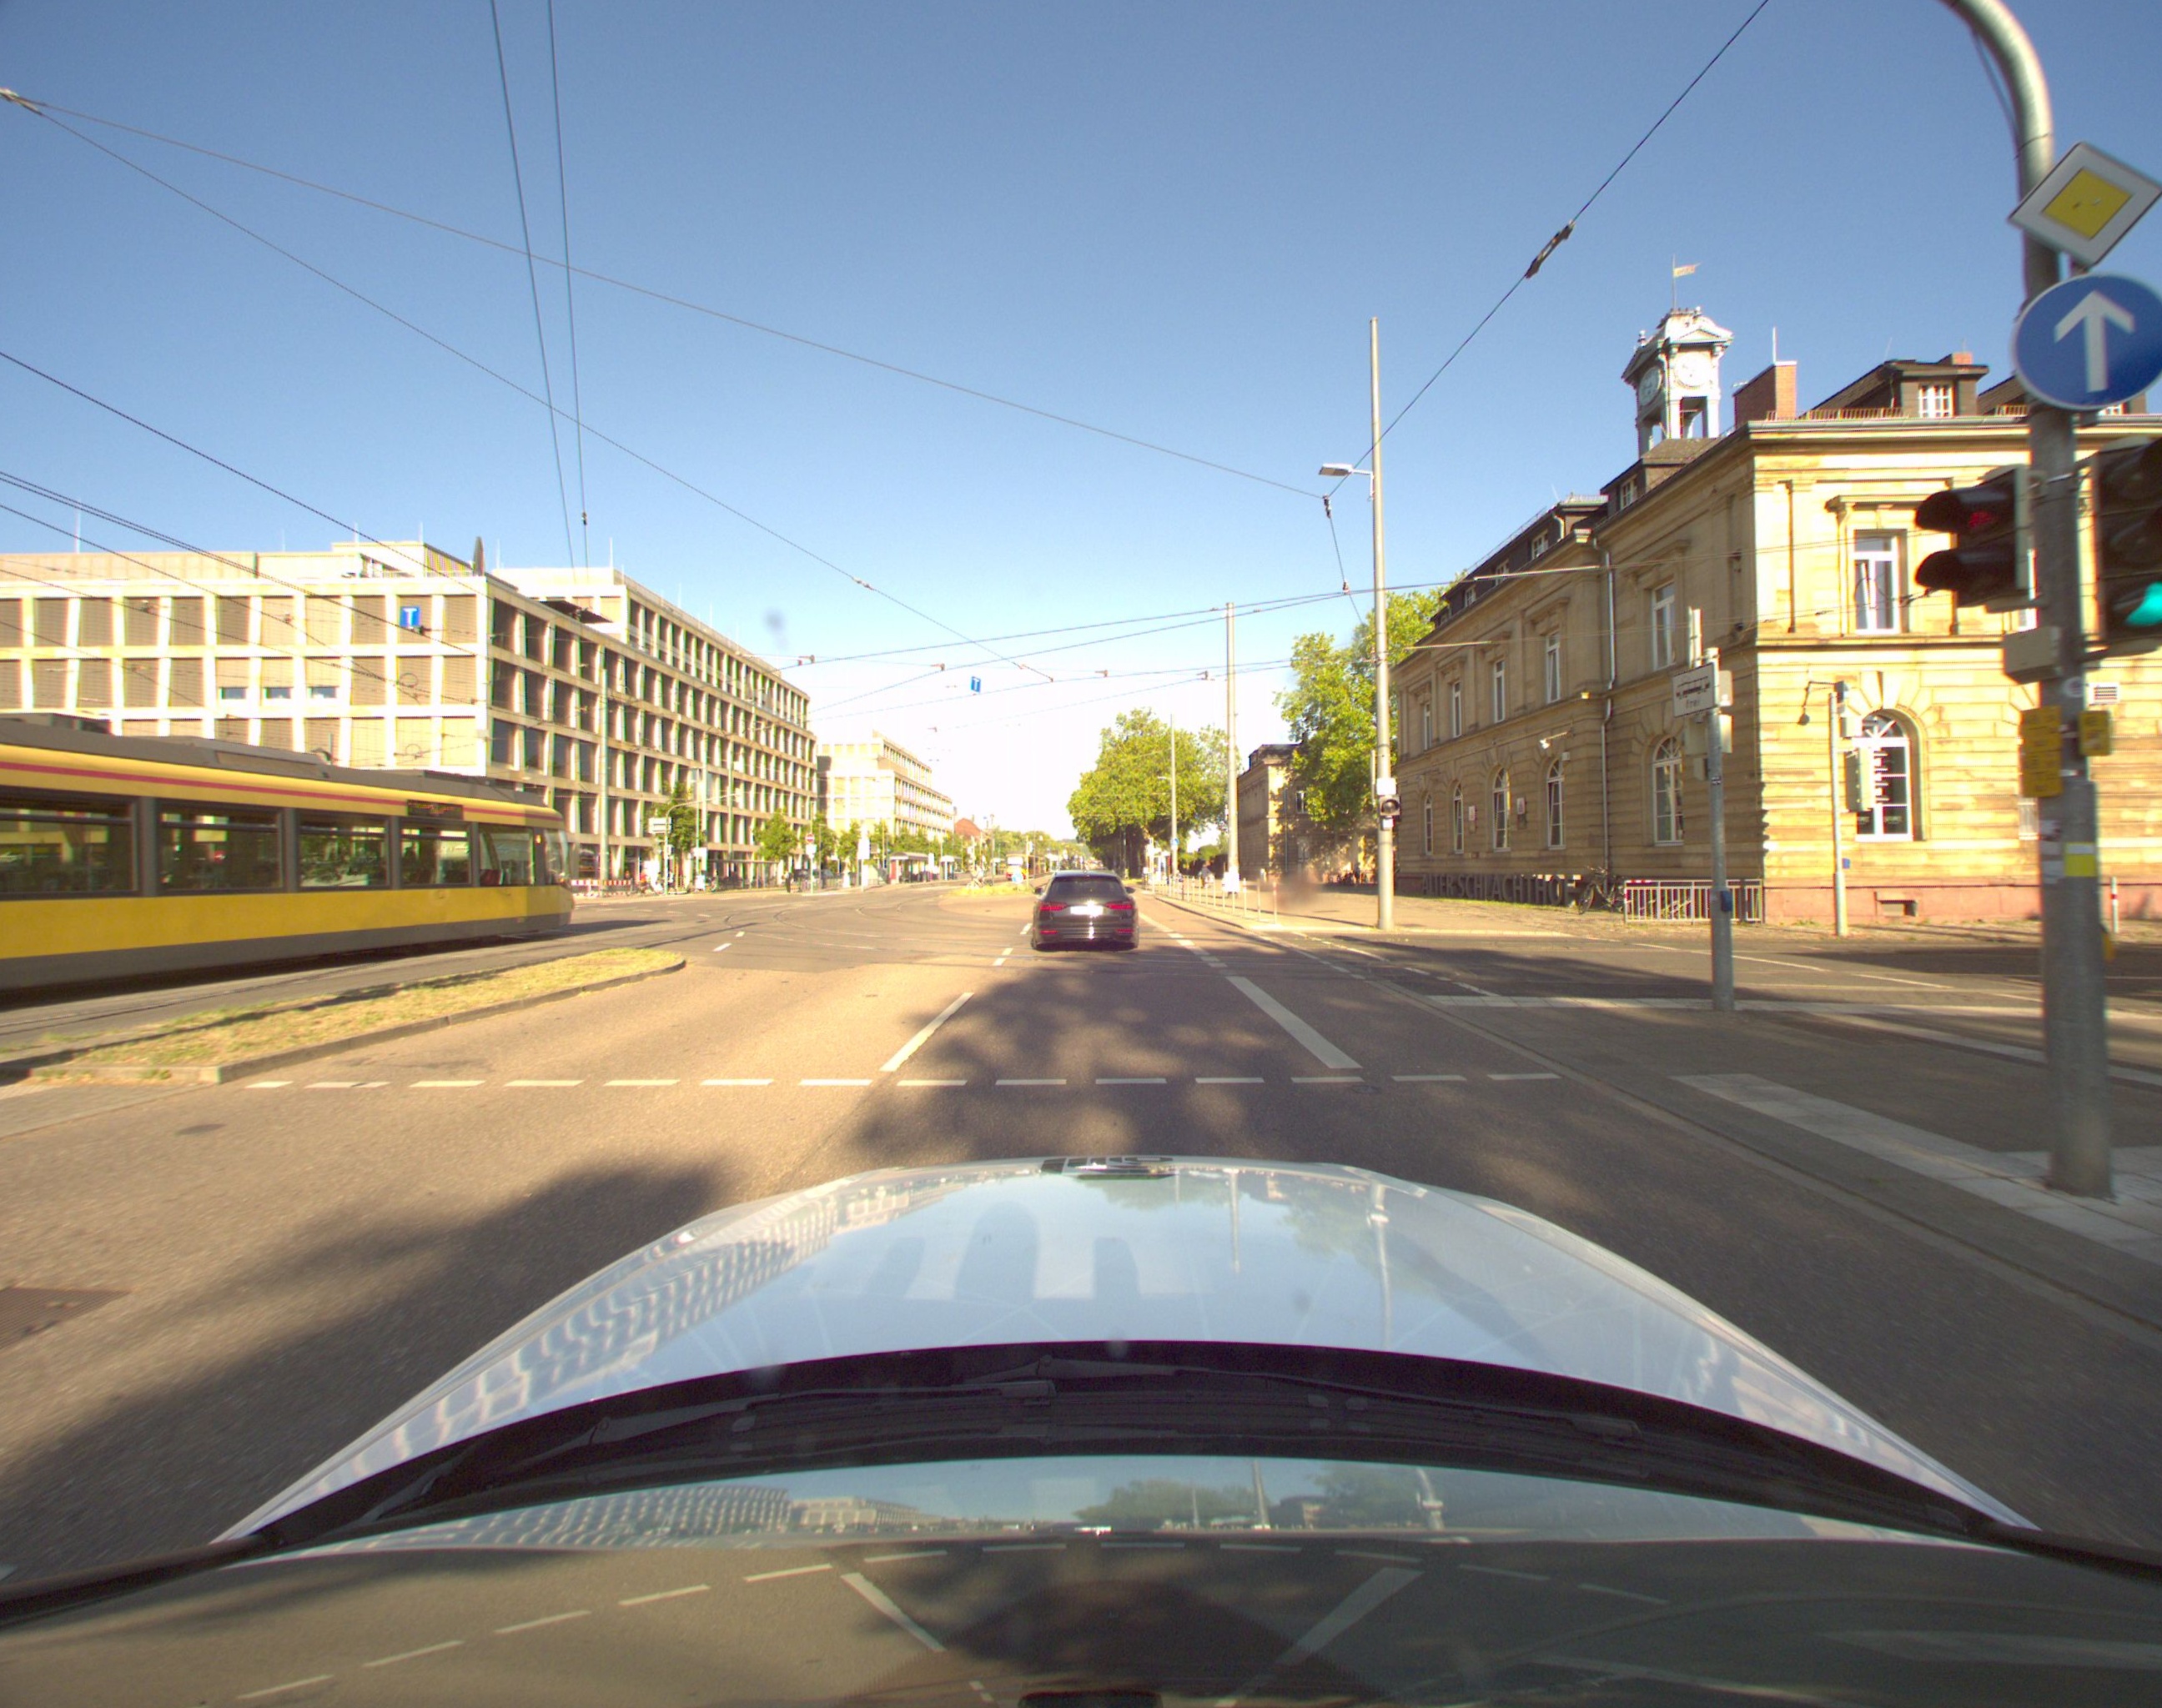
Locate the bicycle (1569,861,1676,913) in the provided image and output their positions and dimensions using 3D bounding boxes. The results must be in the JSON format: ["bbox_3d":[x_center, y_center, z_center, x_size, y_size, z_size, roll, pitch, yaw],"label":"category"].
[{"bbox_3d":[13.545,0.816,20.400,2.130,1.209,0.765,-2,-1,-1],"label":"bicycle"}]

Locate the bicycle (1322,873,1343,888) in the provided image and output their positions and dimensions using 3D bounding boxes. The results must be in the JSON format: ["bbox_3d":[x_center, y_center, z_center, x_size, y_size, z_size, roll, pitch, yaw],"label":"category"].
[{"bbox_3d":[18.196,1.892,58.977,0.525,1.047,2.353,-1,-1,-7],"label":"bicycle"}]

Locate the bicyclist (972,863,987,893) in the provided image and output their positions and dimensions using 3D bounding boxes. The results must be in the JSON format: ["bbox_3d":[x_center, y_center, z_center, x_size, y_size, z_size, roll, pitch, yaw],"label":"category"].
[{"bbox_3d":[-6.360,1.508,50.841,0.760,1.819,0.759,0,-1,-23],"label":"bicyclist"}]

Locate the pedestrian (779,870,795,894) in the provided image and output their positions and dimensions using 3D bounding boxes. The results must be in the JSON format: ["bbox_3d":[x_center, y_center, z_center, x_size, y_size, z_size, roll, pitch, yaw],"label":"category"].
[{"bbox_3d":[-18.903,1.809,52.428,0.753,1.532,0.625,-1,-1,5],"label":"pedestrian"}]

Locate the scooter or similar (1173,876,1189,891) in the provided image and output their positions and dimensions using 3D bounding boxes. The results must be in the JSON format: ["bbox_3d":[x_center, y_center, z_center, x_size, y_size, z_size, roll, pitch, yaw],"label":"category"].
[{"bbox_3d":[6.472,1.919,52.716,0.936,0.966,0.361,-2,-2,-1],"label":"scooter or similar"}]

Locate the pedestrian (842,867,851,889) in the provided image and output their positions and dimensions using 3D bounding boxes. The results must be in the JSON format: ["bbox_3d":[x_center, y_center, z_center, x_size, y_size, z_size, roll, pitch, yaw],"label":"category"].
[{"bbox_3d":[-18.230,1.869,63.338,0.620,1.664,0.510,0,-1,-24],"label":"pedestrian"}]

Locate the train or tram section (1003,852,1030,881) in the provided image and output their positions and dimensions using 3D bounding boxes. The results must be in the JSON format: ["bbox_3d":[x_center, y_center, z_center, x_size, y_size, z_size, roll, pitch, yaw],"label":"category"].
[{"bbox_3d":[-8.080,1.572,103.686,2.600,3.451,11.128,-1,-1,0],"label":"train or tram section"}]

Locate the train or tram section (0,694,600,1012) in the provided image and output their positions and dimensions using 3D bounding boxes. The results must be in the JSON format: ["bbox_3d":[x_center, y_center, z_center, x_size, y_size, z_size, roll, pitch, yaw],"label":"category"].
[{"bbox_3d":[-13.183,0.088,13.624,2.803,3.489,12.155,-1,-1,1],"label":"train or tram section"}]

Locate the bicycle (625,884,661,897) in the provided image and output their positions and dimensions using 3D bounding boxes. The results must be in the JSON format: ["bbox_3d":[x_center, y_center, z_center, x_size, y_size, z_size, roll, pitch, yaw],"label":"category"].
[{"bbox_3d":[-27.156,2.284,50.517,1.962,0.776,0.621,-1,-1,9],"label":"bicycle"}]

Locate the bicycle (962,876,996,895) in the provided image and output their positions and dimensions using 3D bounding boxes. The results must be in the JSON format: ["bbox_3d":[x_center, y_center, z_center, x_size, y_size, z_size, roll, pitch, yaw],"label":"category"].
[{"bbox_3d":[-6.354,1.974,50.789,2.014,1.108,0.759,0,-1,-23],"label":"bicycle"}]

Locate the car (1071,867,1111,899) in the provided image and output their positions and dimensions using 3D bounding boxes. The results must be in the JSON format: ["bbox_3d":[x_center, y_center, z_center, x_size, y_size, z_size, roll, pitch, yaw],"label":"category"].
[{"bbox_3d":[0.533,1.445,40.873,1.895,1.486,4.145,0,-2,2],"label":"car"}]

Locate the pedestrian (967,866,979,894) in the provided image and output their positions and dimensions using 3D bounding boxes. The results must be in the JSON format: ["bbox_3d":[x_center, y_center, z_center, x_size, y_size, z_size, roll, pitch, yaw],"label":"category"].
[{"bbox_3d":[-6.965,1.666,52.511,0.740,1.741,0.660,0,-1,-13],"label":"pedestrian"}]

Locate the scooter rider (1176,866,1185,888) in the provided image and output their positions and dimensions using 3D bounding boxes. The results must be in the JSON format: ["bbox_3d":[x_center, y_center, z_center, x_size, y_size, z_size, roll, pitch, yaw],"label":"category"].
[{"bbox_3d":[6.426,1.485,52.736,0.483,1.386,0.377,-2,-2,-1],"label":"scooter rider"}]

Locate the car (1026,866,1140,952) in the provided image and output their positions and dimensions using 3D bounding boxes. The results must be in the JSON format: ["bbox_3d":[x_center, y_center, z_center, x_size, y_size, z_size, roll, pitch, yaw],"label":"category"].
[{"bbox_3d":[0.100,0.966,15.636,1.895,1.422,4.145,0,-2,2],"label":"car"}]

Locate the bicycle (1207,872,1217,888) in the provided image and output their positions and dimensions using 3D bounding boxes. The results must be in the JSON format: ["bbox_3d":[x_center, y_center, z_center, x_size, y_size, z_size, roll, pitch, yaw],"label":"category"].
[{"bbox_3d":[9.429,1.867,58.617,0.433,1.145,1.340,-1,-1,0],"label":"bicycle"}]

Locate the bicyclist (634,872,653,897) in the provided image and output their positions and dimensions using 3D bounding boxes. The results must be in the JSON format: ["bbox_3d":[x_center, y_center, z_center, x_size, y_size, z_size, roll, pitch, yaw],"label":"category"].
[{"bbox_3d":[-27.136,1.892,50.490,0.700,1.525,0.787,-1,-1,9],"label":"bicyclist"}]

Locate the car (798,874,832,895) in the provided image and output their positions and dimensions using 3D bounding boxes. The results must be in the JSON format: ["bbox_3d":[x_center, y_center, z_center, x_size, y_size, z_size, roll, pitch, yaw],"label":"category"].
[{"bbox_3d":[-25.331,2.885,77.554,1.836,1.813,4.112,-1,-1,0],"label":"car"}]

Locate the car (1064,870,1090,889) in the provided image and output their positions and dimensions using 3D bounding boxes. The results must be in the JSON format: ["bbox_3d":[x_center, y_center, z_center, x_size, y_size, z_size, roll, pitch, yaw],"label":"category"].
[{"bbox_3d":[-0.301,2.016,65.713,1.895,1.486,4.145,0,-2,2],"label":"car"}]

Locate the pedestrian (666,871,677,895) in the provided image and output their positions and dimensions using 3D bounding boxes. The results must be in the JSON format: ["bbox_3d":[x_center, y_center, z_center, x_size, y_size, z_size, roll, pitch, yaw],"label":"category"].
[{"bbox_3d":[-26.856,1.883,53.429,0.598,1.574,0.577,0,-1,-31],"label":"pedestrian"}]

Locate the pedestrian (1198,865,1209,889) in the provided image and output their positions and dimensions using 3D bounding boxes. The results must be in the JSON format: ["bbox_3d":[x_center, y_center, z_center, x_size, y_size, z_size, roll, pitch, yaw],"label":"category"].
[{"bbox_3d":[8.805,1.643,58.604,0.680,1.661,0.758,-1,-1,-1],"label":"pedestrian"}]

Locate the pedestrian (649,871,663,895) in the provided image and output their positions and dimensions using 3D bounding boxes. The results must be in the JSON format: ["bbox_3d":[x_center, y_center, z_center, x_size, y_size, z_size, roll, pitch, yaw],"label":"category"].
[{"bbox_3d":[-26.878,1.812,51.499,0.590,1.525,0.584,-1,-1,9],"label":"pedestrian"}]

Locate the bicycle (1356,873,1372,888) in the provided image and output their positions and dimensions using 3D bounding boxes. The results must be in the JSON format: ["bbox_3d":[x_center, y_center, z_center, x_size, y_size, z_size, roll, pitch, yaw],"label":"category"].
[{"bbox_3d":[20.654,1.945,59.458,0.524,1.047,2.232,-1,-1,2],"label":"bicycle"}]

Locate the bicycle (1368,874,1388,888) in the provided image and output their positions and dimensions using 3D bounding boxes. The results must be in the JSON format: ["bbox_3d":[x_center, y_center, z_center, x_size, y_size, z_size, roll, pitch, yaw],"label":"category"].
[{"bbox_3d":[21.716,1.967,59.655,0.524,1.047,2.228,-1,-1,-3],"label":"bicycle"}]

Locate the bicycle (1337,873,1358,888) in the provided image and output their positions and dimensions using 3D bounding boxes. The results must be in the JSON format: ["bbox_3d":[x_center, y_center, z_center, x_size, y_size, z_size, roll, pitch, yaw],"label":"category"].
[{"bbox_3d":[19.257,1.906,58.944,0.525,1.047,2.353,-1,-1,-7],"label":"bicycle"}]

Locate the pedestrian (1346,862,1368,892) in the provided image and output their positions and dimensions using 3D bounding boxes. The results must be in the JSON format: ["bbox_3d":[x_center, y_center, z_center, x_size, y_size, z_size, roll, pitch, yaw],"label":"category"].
[{"bbox_3d":[17.176,1.434,50.631,0.979,1.866,0.823,0,-1,-12],"label":"pedestrian"}]
